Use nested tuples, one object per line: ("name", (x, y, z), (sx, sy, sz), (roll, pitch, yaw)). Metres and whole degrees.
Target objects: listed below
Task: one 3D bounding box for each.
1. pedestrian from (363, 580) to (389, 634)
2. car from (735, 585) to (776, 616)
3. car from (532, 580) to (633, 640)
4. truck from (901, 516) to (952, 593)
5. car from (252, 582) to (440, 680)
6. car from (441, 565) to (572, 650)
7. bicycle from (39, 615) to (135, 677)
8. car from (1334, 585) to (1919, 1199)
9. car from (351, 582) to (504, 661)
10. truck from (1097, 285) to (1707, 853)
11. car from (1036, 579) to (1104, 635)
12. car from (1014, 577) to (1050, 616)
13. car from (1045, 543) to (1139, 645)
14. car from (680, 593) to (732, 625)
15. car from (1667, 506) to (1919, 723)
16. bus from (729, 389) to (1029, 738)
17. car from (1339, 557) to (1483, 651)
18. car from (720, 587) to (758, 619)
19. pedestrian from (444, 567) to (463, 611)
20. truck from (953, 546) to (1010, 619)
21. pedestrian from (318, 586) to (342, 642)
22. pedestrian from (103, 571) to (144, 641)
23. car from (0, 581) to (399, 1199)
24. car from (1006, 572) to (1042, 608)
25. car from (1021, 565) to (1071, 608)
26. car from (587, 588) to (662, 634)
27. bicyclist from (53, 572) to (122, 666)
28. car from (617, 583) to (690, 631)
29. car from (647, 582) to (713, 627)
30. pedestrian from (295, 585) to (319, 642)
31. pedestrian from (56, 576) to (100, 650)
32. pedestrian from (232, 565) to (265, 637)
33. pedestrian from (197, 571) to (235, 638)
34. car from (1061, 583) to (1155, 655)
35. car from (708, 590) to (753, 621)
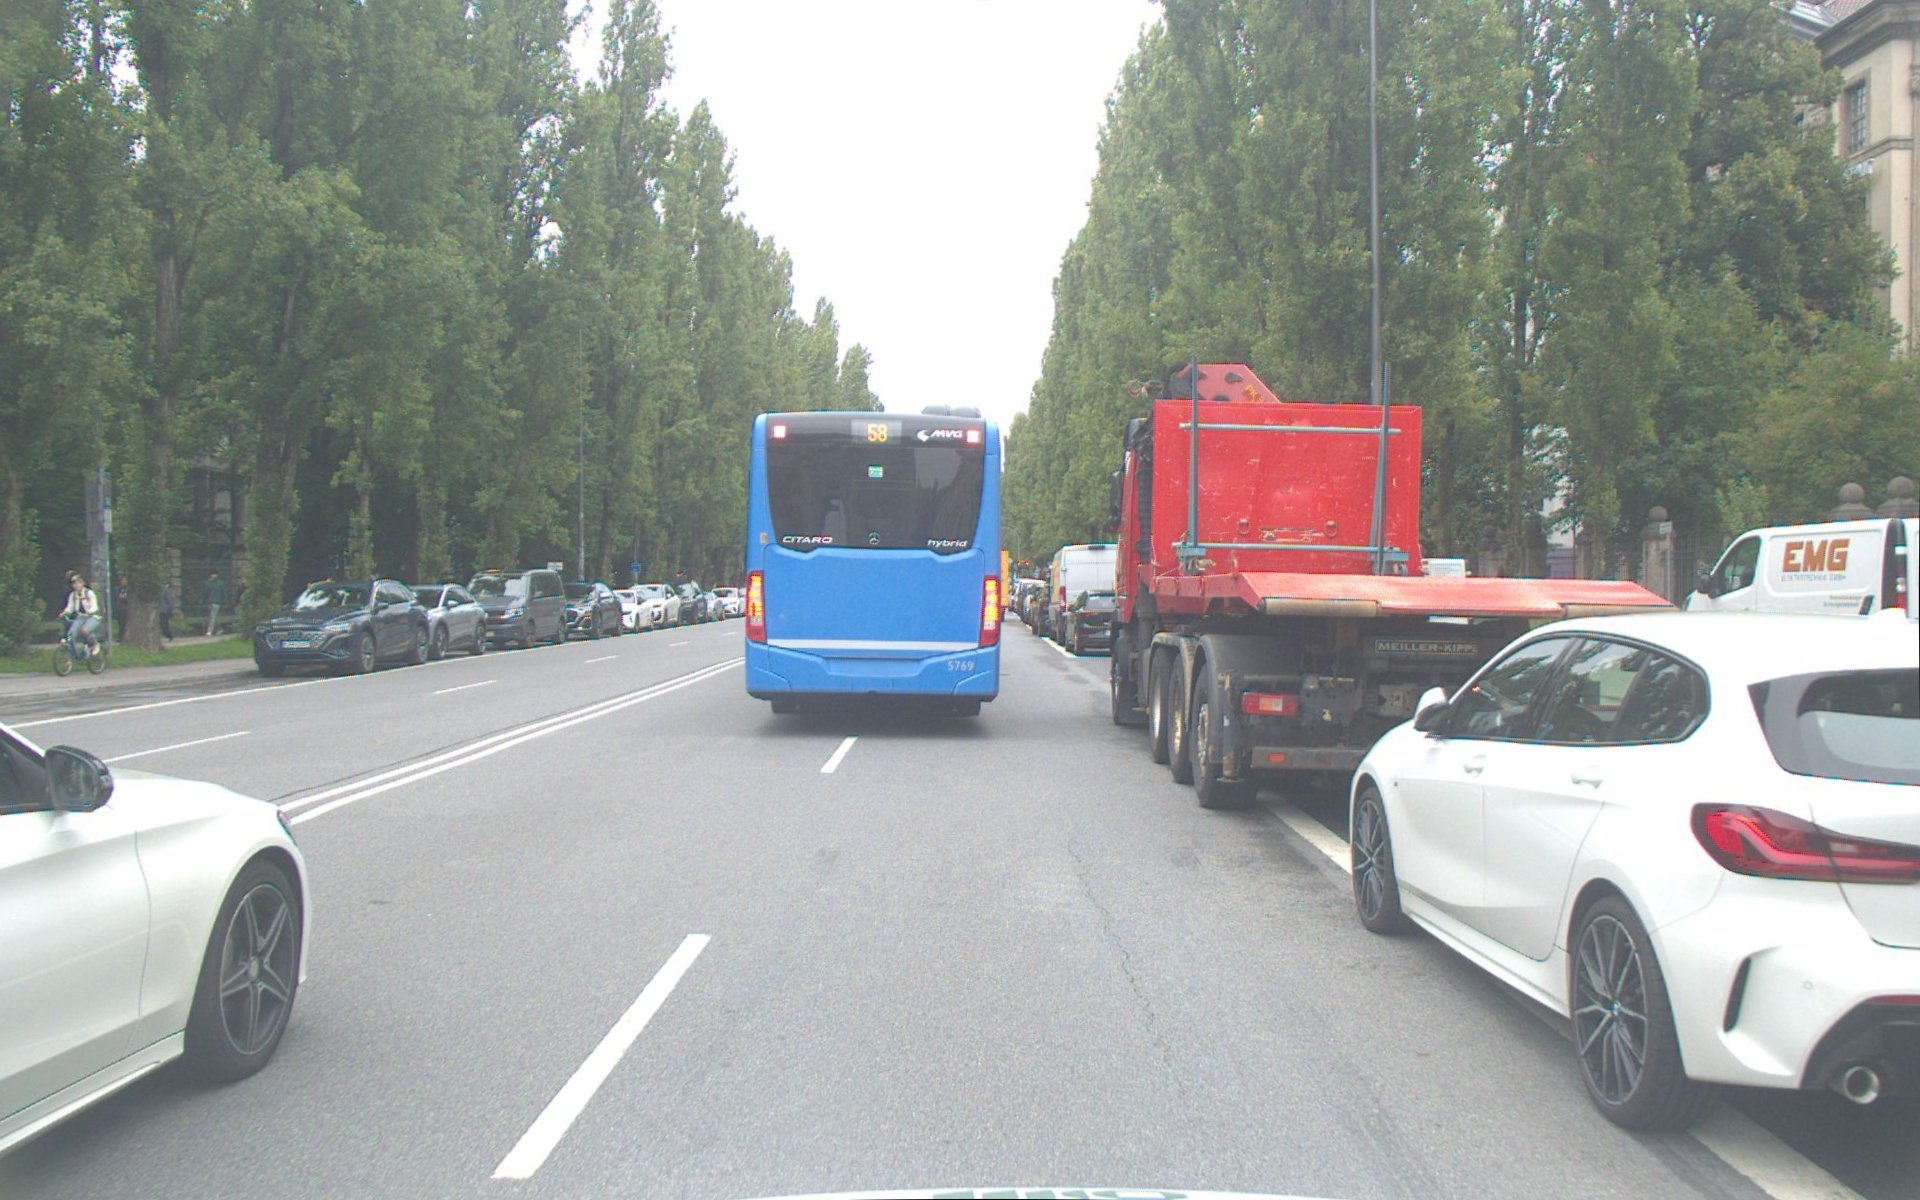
("pedestrian", (-19.637, 0.233, 55.598), (0.596, 1.787, 0.757), (0, 0, -1))
("car", (-11.172, 0.026, 90.586), (1.777, 1.671, 4.000), (0, 0, 0))
("car", (-11.192, 0.269, 49.362), (1.778, 1.637, 5.053), (-2, 0, 0))
("truck", (-1.879, -2.440, 91.658), (2.661, 4.034, 9.215), (0, 0, -2))
("car", (-11.411, 0.515, 31.074), (1.745, 1.624, 4.614), (-2, 1, 0))
("car", (-11.549, 0.149, 42.481), (1.953, 1.990, 4.937), (-2, 1, 0))
("bicycle", (-14.501, 0.751, 27.525), (0.693, 0.955, 1.735), (1, 0, -1))
("car", (2.691, 0.708, 5.925), (1.751, 1.485, 4.218), (1, 1, 0))
("car", (-11.703, 0.428, 36.665), (1.852, 1.612, 4.654), (-1, 1, 0))
("truck", (2.899, -0.222, 14.443), (2.657, 3.164, 10.427), (0, 1, 1))
("car", (3.341, 0.202, 50.709), (1.783, 1.618, 4.223), (1, 0, 0))
("car", (3.814, -0.196, 88.256), (1.769, 2.011, 4.237), (1, 0, 1))
("car", (3.490, -0.182, 44.854), (2.032, 2.522, 6.284), (1, 0, 0))
("car", (-11.155, 0.375, 72.801), (1.548, 1.327, 4.029), (-2, 0, 1))
("car", (9.540, 0.130, 17.578), (1.842, 1.978, 4.884), (2, 1, -1))
("bus", (-0.914, -0.385, 20.185), (2.798, 3.269, 9.056), (1, 1, -2))
("car", (10.065, 0.075, 37.292), (1.952, 1.980, 5.084), (0, 0, 1))
("car", (-11.397, 0.148, 85.613), (1.709, 1.545, 4.114), (-2, 0, -5))
("pedestrian", (-20.791, -0.463, 67.880), (0.538, 1.778, 0.672), (1, 0, 0))
("truck", (0.873, -0.736, 70.506), (2.280, 2.949, 7.332), (0, 0, 0))
("pedestrian", (-19.530, 0.428, 51.303), (0.498, 1.737, 0.569), (1, 0, 1))
("pedestrian", (-21.341, 0.148, 42.192), (0.653, 1.752, 0.733), (0, 0, 1))
("car", (-2.925, 0.694, 3.343), (1.787, 1.480, 4.584), (1, 0, 3))
("car", (3.694, -0.584, 96.205), (2.010, 2.049, 5.693), (0, 1, 1))
("car", (3.411, -0.542, 66.152), (1.744, 1.609, 4.147), (2, 0, 0))
("car", (-11.330, 0.340, 56.103), (1.642, 1.447, 4.237), (-2, 0, 0))
("bicyclist", (-14.509, 0.305, 27.517), (0.679, 1.524, 0.861), (0, 0, -1))
("car", (-11.297, 0.226, 61.221), (1.748, 1.616, 4.462), (-2, 1, 1))
("car", (-11.300, 0.147, 67.064), (1.842, 1.687, 4.717), (-2, 1, -1))
("pedestrian", (-20.207, 0.416, 51.169), (0.498, 1.737, 0.569), (1, 0, 1))
("pedestrian", (-20.250, 0.294, 37.986), (0.605, 1.688, 0.704), (1, 0, 1))
("pedestrian", (-20.518, 0.033, 47.679), (0.652, 2.049, 0.638), (1, 0, 0))
("pedestrian", (-21.347, 0.128, 47.482), (0.731, 1.886, 0.757), (1, 0, 1))
("car", (3.290, 0.390, 37.364), (1.718, 1.475, 4.000), (2, 1, 0))
("car", (-11.165, 0.252, 80.657), (1.651, 1.437, 4.004), (-2, 0, -1))
